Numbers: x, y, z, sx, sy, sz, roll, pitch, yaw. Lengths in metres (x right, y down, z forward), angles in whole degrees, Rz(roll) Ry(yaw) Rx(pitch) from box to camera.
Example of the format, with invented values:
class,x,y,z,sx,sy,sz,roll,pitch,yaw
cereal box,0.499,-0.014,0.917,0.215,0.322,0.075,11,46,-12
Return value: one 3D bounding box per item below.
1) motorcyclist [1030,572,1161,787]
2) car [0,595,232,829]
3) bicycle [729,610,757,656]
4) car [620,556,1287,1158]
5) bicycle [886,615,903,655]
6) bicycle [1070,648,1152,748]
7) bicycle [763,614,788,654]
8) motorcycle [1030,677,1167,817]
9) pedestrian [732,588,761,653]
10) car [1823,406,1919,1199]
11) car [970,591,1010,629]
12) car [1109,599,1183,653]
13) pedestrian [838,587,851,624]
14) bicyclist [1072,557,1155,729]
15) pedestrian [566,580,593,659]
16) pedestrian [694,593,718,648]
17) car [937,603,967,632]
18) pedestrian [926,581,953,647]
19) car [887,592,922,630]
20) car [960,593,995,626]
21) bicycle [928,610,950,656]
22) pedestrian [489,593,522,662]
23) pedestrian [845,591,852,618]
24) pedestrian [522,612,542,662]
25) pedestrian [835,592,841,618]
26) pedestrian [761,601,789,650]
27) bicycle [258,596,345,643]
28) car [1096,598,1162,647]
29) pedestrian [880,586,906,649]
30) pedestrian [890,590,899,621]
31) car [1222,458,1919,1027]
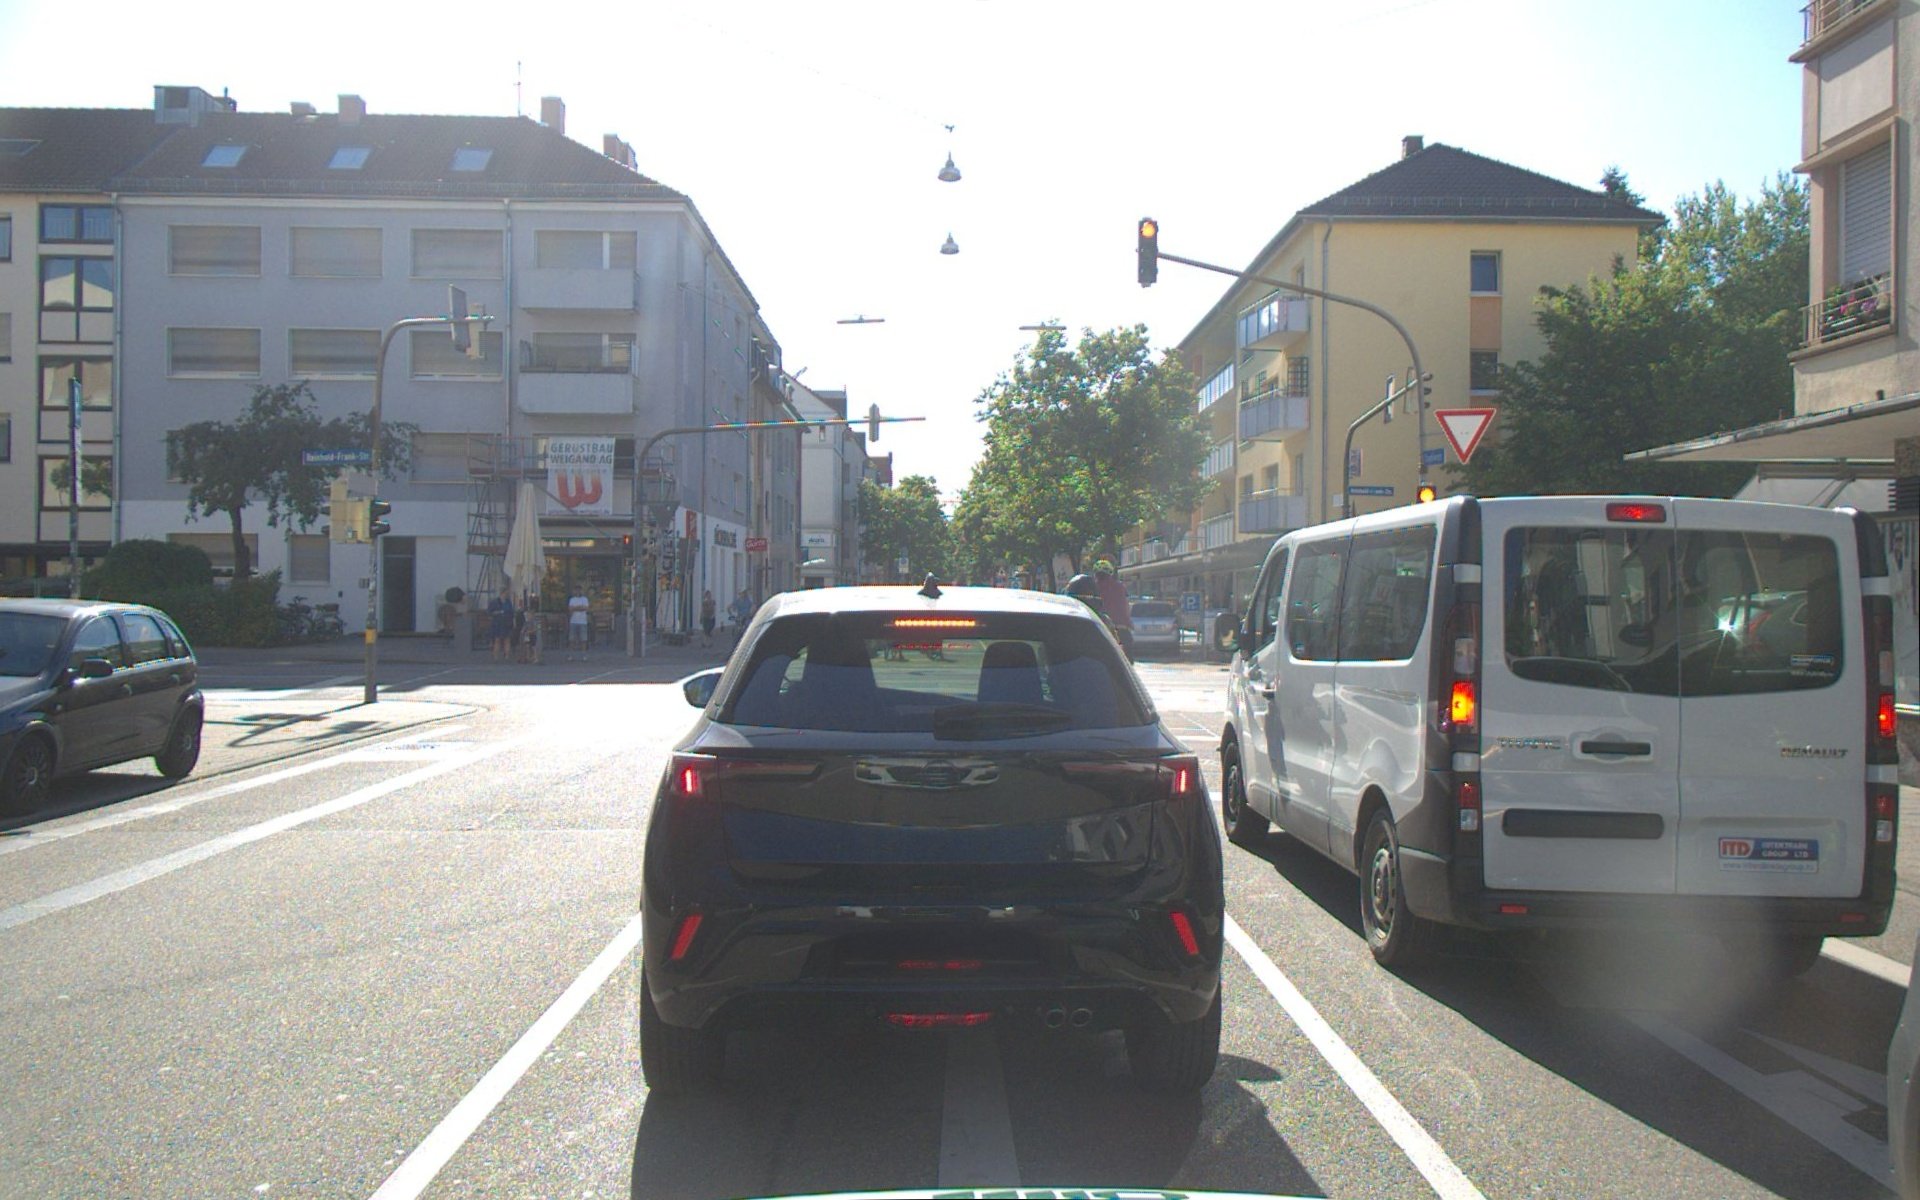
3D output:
class,x,y,z,sx,sy,sz,roll,pitch,yaw
motorcyclist,0.991,0.569,12.368,0.846,1.528,1.159,0,0,-2
car,-7.083,0.730,12.423,1.584,1.450,3.709,3,0,-1
bicycle,-5.742,0.850,43.844,0.511,1.167,2.282,0,0,-3
car,-0.095,0.664,6.322,1.735,1.557,3.998,1,0,-3
bicycle,-1.735,0.909,43.988,0.434,1.010,2.068,0,0,-3
bicycle,1.584,1.009,17.620,0.565,0.920,2.300,0,0,-3
bicycle,-4.870,0.889,43.723,0.511,1.010,2.338,0,0,-3
motorcycle,0.977,1.041,12.165,0.808,0.860,1.884,0,0,-1
pedestrian,-5.615,0.532,43.522,0.692,1.707,0.802,0,0,-3
car,2.982,0.576,1.232,1.800,1.901,4.992,1,0,-4
car,1.401,0.451,78.400,1.863,1.758,4.073,0,0,0
car,5.280,0.703,47.330,1.601,1.458,3.956,0,0,-1
pedestrian,-5.364,0.258,76.545,0.558,1.719,0.588,0,0,-1
bicyclist,1.603,0.437,17.473,0.675,1.742,1.413,0,0,-3
pedestrian,-8.730,0.447,37.937,0.550,1.806,0.582,1,0,-9
pedestrian,-7.170,0.572,46.688,0.605,1.547,0.724,0,0,-4
car,-0.490,1.072,104.925,1.787,1.758,4.000,0,0,1
pedestrian,-0.541,0.364,43.635,0.692,1.731,0.802,0,0,-3
car,-3.007,0.570,89.765,1.817,2.049,3.880,0,0,-1
car,0.943,0.496,90.953,1.863,1.758,4.000,0,0,0
bicycle,-0.562,0.859,43.819,0.511,1.167,2.169,0,0,-3
pedestrian,-10.254,0.619,37.320,0.573,1.547,0.649,0,0,-4
pedestrian,-7.131,0.294,106.025,0.394,1.704,0.417,0,0,-1
pedestrian,-9.642,0.838,37.265,0.348,1.111,0.461,0,0,-4
pedestrian,-7.840,0.318,106.367,0.394,1.704,0.417,0,0,-1
pedestrian,-4.860,0.657,43.469,0.692,1.275,0.802,0,0,-3
bicycle,-16.903,0.498,42.454,2.067,1.193,0.735,0,0,-25
car,5.260,0.684,51.928,1.601,1.458,3.999,0,0,-1
pedestrian,-1.767,0.457,43.739,0.666,1.634,0.762,0,0,-3
pedestrian,-3.637,0.296,91.418,0.478,1.719,0.588,0,0,-1
car,2.740,0.518,8.502,1.953,2.014,4.895,2,0,0
